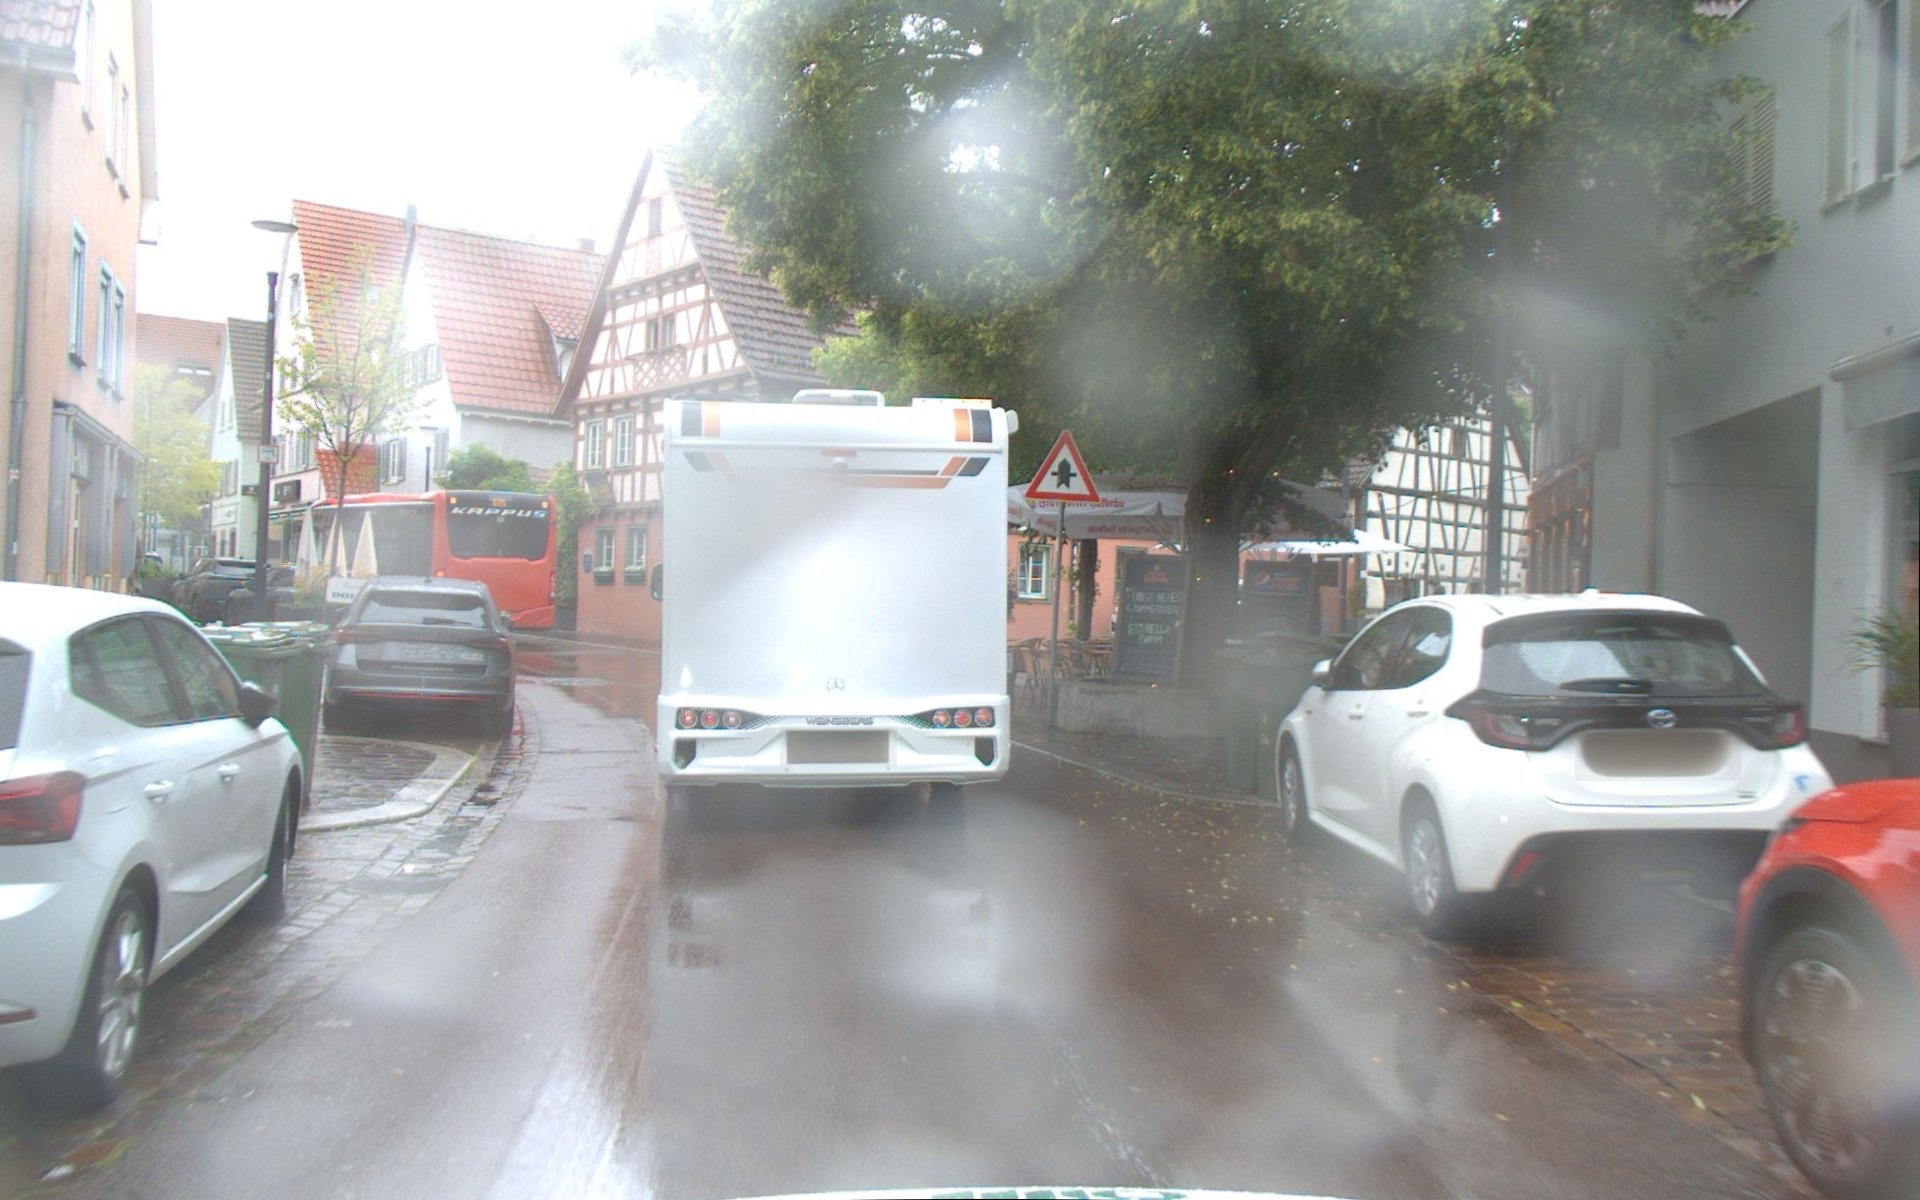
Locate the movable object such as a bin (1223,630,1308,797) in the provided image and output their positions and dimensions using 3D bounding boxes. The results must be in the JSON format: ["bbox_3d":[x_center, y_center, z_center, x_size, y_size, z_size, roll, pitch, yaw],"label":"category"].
[{"bbox_3d":[2.245,0.826,12.179,0.468,1.189,0.487,1,-1,-10],"label":"movable object such as a bin"}]

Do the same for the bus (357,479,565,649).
[{"bbox_3d":[-10.818,-0.688,35.439,2.616,3.283,6.529,1,0,-32],"label":"bus"}]

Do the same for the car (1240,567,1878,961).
[{"bbox_3d":[2.798,0.673,8.868,1.656,1.566,4.401,1,0,-3],"label":"car"}]

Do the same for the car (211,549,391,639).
[{"bbox_3d":[-12.752,-0.141,31.851,1.791,1.457,4.560,4,-1,-41],"label":"car"}]

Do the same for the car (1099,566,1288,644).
[{"bbox_3d":[5.581,0.138,39.236,4.422,1.659,1.918,1,3,-39],"label":"car"}]

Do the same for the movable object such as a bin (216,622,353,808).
[{"bbox_3d":[-4.256,0.710,10.457,0.647,1.128,0.622,1,-1,-9],"label":"movable object such as a bin"}]

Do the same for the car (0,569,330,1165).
[{"bbox_3d":[-3.400,0.625,5.774,1.660,1.447,3.805,1,1,-12],"label":"car"}]

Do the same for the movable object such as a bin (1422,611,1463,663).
[{"bbox_3d":[10.663,0.814,36.548,0.649,1.113,0.598,1,-1,-38],"label":"movable object such as a bin"}]

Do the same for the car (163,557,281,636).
[{"bbox_3d":[-15.849,-0.076,35.411,1.579,1.573,3.928,1,0,-35],"label":"car"}]

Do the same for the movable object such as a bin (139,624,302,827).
[{"bbox_3d":[-4.270,0.713,9.585,0.679,1.106,0.545,3,-1,-9],"label":"movable object such as a bin"}]

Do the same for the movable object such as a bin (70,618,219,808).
[{"bbox_3d":[-5.034,0.686,10.247,0.647,1.128,0.622,1,-1,-9],"label":"movable object such as a bin"}]

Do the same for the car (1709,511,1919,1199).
[{"bbox_3d":[3.094,0.663,2.869,1.656,1.719,3.955,1,0,-3],"label":"car"}]

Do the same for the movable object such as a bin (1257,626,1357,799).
[{"bbox_3d":[2.415,0.774,11.552,0.524,1.169,0.499,1,-1,-11],"label":"movable object such as a bin"}]

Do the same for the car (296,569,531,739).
[{"bbox_3d":[-5.478,0.487,16.774,1.962,1.480,4.352,1,0,-17],"label":"car"}]

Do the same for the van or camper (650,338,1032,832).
[{"bbox_3d":[-1.077,-0.067,13.256,2.281,2.970,6.383,1,0,-7],"label":"van or camper"}]

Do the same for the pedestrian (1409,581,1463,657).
[{"bbox_3d":[9.818,0.388,34.131,0.836,1.544,0.748,1,-1,-45],"label":"pedestrian"}]

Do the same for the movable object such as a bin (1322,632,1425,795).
[{"bbox_3d":[3.057,0.827,12.256,0.534,1.169,0.584,1,-1,-10],"label":"movable object such as a bin"}]
